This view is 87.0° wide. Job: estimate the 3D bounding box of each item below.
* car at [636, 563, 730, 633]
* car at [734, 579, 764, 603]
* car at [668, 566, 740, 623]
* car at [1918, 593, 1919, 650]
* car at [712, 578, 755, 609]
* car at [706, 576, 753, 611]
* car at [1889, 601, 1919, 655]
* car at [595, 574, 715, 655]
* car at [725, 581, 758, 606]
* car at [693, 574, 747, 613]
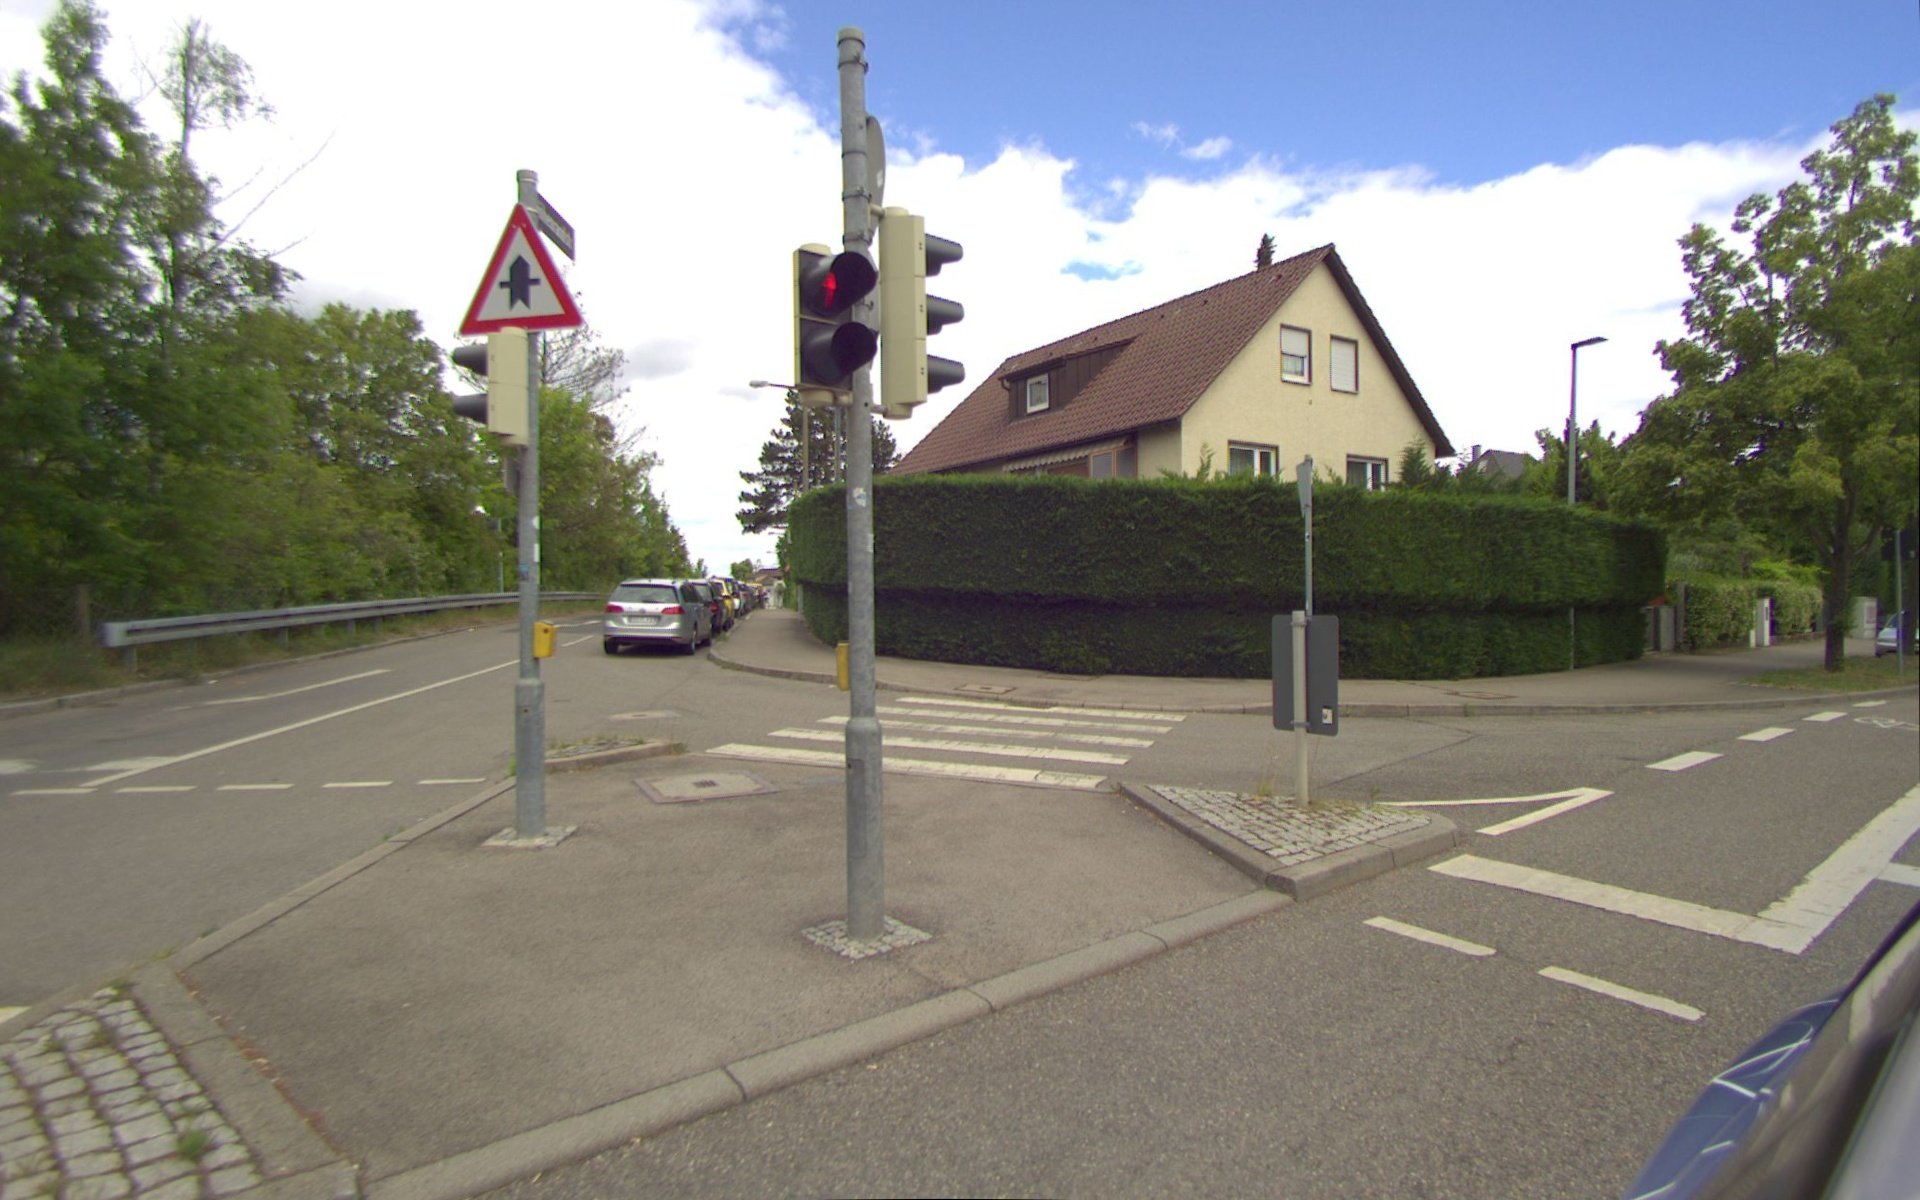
[{"bbox_3d":[-7.127,-0.098,26.430,1.959,1.660,4.147,0,1,-9],"label":"car"},{"bbox_3d":[-14.739,-0.634,70.770,1.872,1.611,4.439,0,1,-9],"label":"car"},{"bbox_3d":[-7.934,-0.210,31.649,1.833,1.633,4.147,0,1,-9],"label":"car"},{"bbox_3d":[30.383,0.638,30.367,4.465,1.657,1.770,0,0,-38],"label":"car"},{"bbox_3d":[-11.440,-0.356,51.366,1.872,1.489,4.796,0,1,-10],"label":"car"},{"bbox_3d":[-10.346,-0.320,45.661,1.833,1.489,4.359,0,1,-9],"label":"car"},{"bbox_3d":[25.822,0.732,26.635,3.476,1.368,1.561,0,1,-40],"label":"car"},{"bbox_3d":[-6.094,0.220,20.623,1.679,1.462,3.929,1,1,-7],"label":"car"},{"bbox_3d":[-14.029,-0.450,65.182,1.872,1.489,4.476,0,1,-9],"label":"car"},{"bbox_3d":[-9.679,-0.292,40.999,1.833,1.489,4.359,0,1,-9],"label":"car"}]
